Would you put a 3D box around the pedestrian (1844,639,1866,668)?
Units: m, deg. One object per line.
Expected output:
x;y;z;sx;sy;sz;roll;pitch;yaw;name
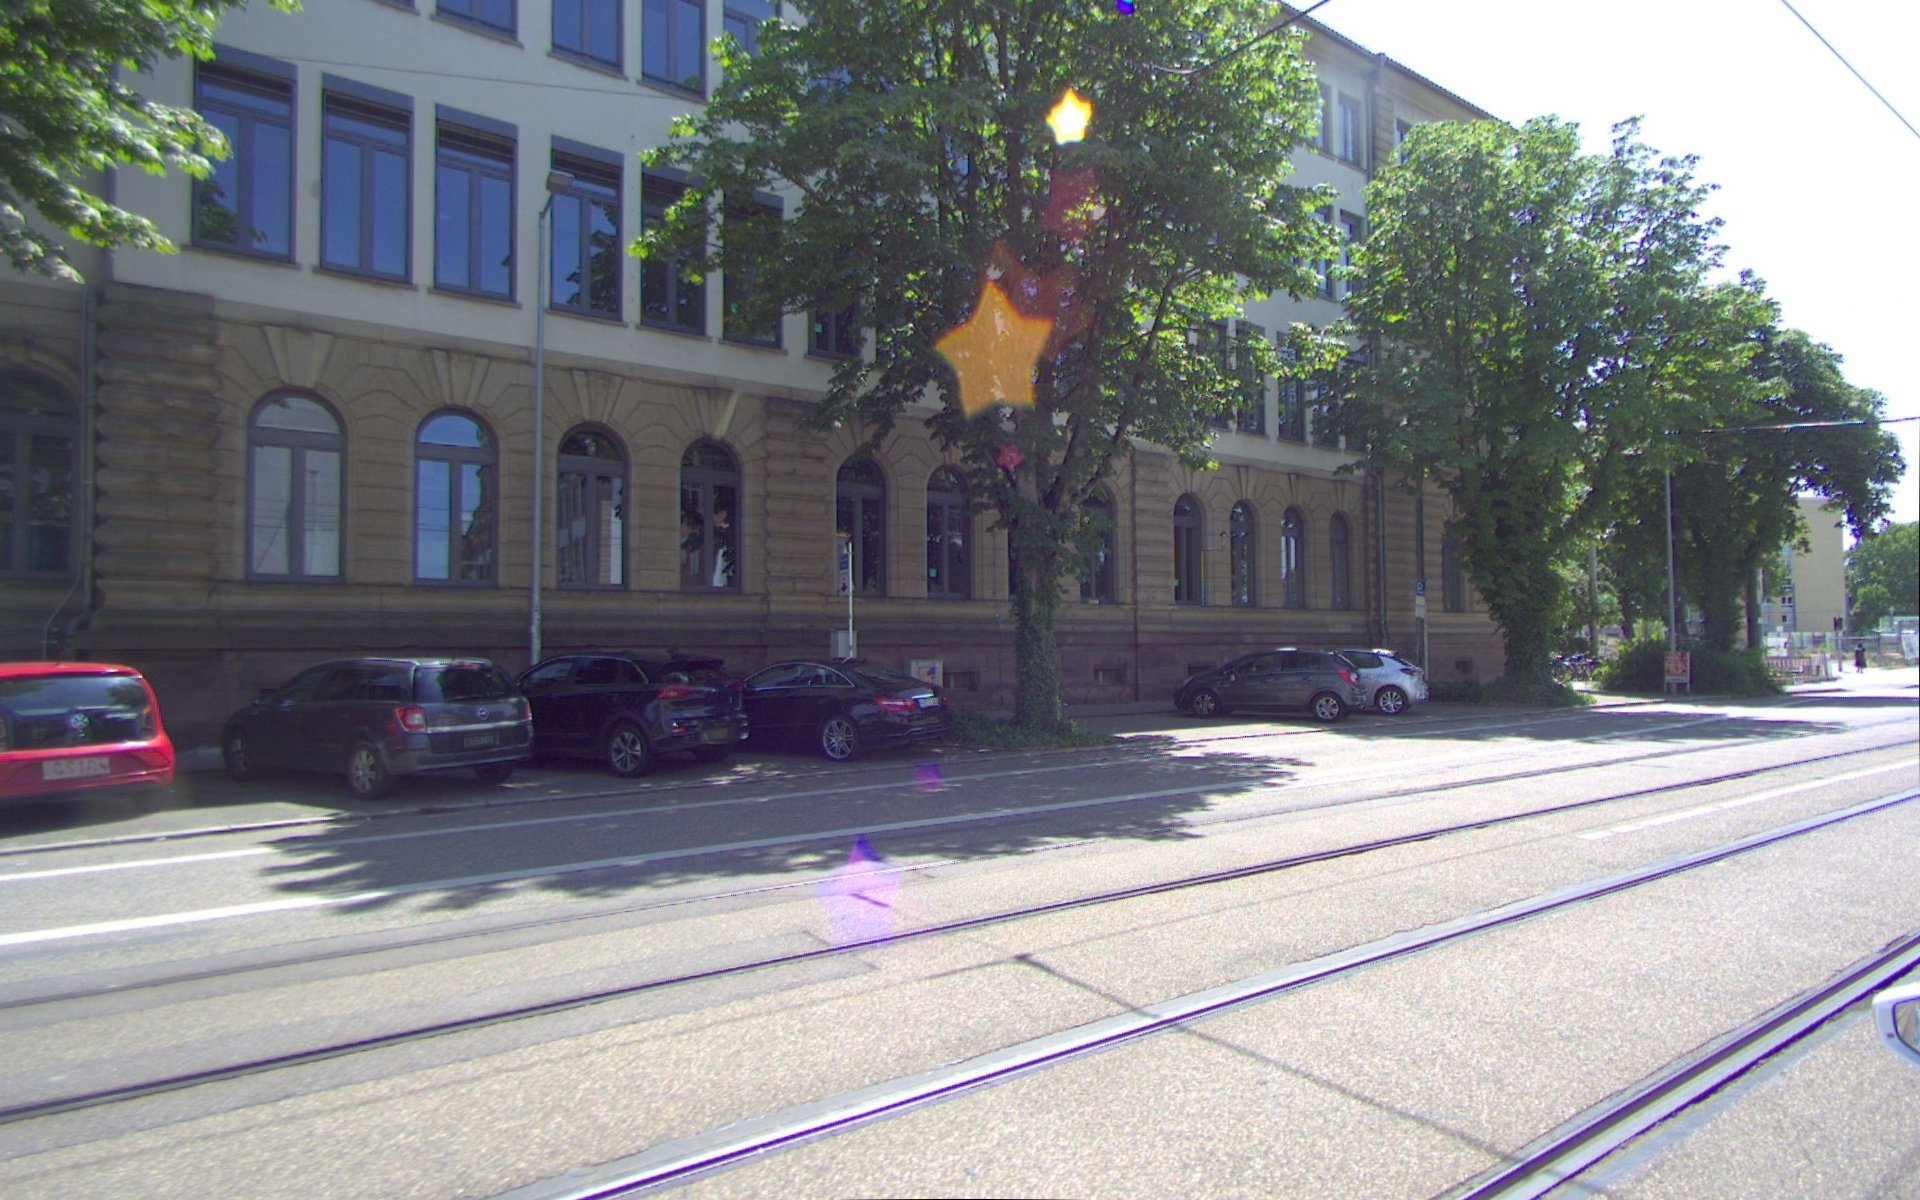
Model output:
49.939;3.000;56.062;0.814;1.623;0.604;2;-3;-25;pedestrian

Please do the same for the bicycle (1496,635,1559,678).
23.086;2.292;40.897;0.545;1.714;2.312;2;-3;-27;bicycle

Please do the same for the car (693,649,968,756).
-1.968;1.462;14.924;3.865;1.392;1.666;-3;-3;31;car

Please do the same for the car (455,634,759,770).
-4.753;1.299;13.495;3.748;1.597;1.792;-2;-3;27;car

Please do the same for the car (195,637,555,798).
-6.990;1.260;11.933;4.243;1.605;1.667;-1;-2;28;car

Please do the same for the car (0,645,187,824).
-9.460;1.227;10.021;3.294;1.536;1.666;-1;-3;31;car

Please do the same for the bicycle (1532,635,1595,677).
25.232;2.331;42.042;0.545;1.714;2.312;2;-3;-27;bicycle

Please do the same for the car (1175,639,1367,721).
6.505;1.619;21.073;3.610;1.540;1.667;-1;-2;28;car

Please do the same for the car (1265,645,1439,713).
8.878;1.743;22.750;3.485;1.424;1.700;-1;-3;28;car

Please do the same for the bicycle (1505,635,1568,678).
23.611;2.301;41.171;0.545;1.714;2.312;2;-3;-27;bicycle

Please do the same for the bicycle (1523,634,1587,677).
24.693;2.308;41.749;0.545;1.714;2.312;2;-3;-27;bicycle

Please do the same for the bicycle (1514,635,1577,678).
24.157;2.312;41.474;0.545;1.714;2.312;2;-3;-27;bicycle
